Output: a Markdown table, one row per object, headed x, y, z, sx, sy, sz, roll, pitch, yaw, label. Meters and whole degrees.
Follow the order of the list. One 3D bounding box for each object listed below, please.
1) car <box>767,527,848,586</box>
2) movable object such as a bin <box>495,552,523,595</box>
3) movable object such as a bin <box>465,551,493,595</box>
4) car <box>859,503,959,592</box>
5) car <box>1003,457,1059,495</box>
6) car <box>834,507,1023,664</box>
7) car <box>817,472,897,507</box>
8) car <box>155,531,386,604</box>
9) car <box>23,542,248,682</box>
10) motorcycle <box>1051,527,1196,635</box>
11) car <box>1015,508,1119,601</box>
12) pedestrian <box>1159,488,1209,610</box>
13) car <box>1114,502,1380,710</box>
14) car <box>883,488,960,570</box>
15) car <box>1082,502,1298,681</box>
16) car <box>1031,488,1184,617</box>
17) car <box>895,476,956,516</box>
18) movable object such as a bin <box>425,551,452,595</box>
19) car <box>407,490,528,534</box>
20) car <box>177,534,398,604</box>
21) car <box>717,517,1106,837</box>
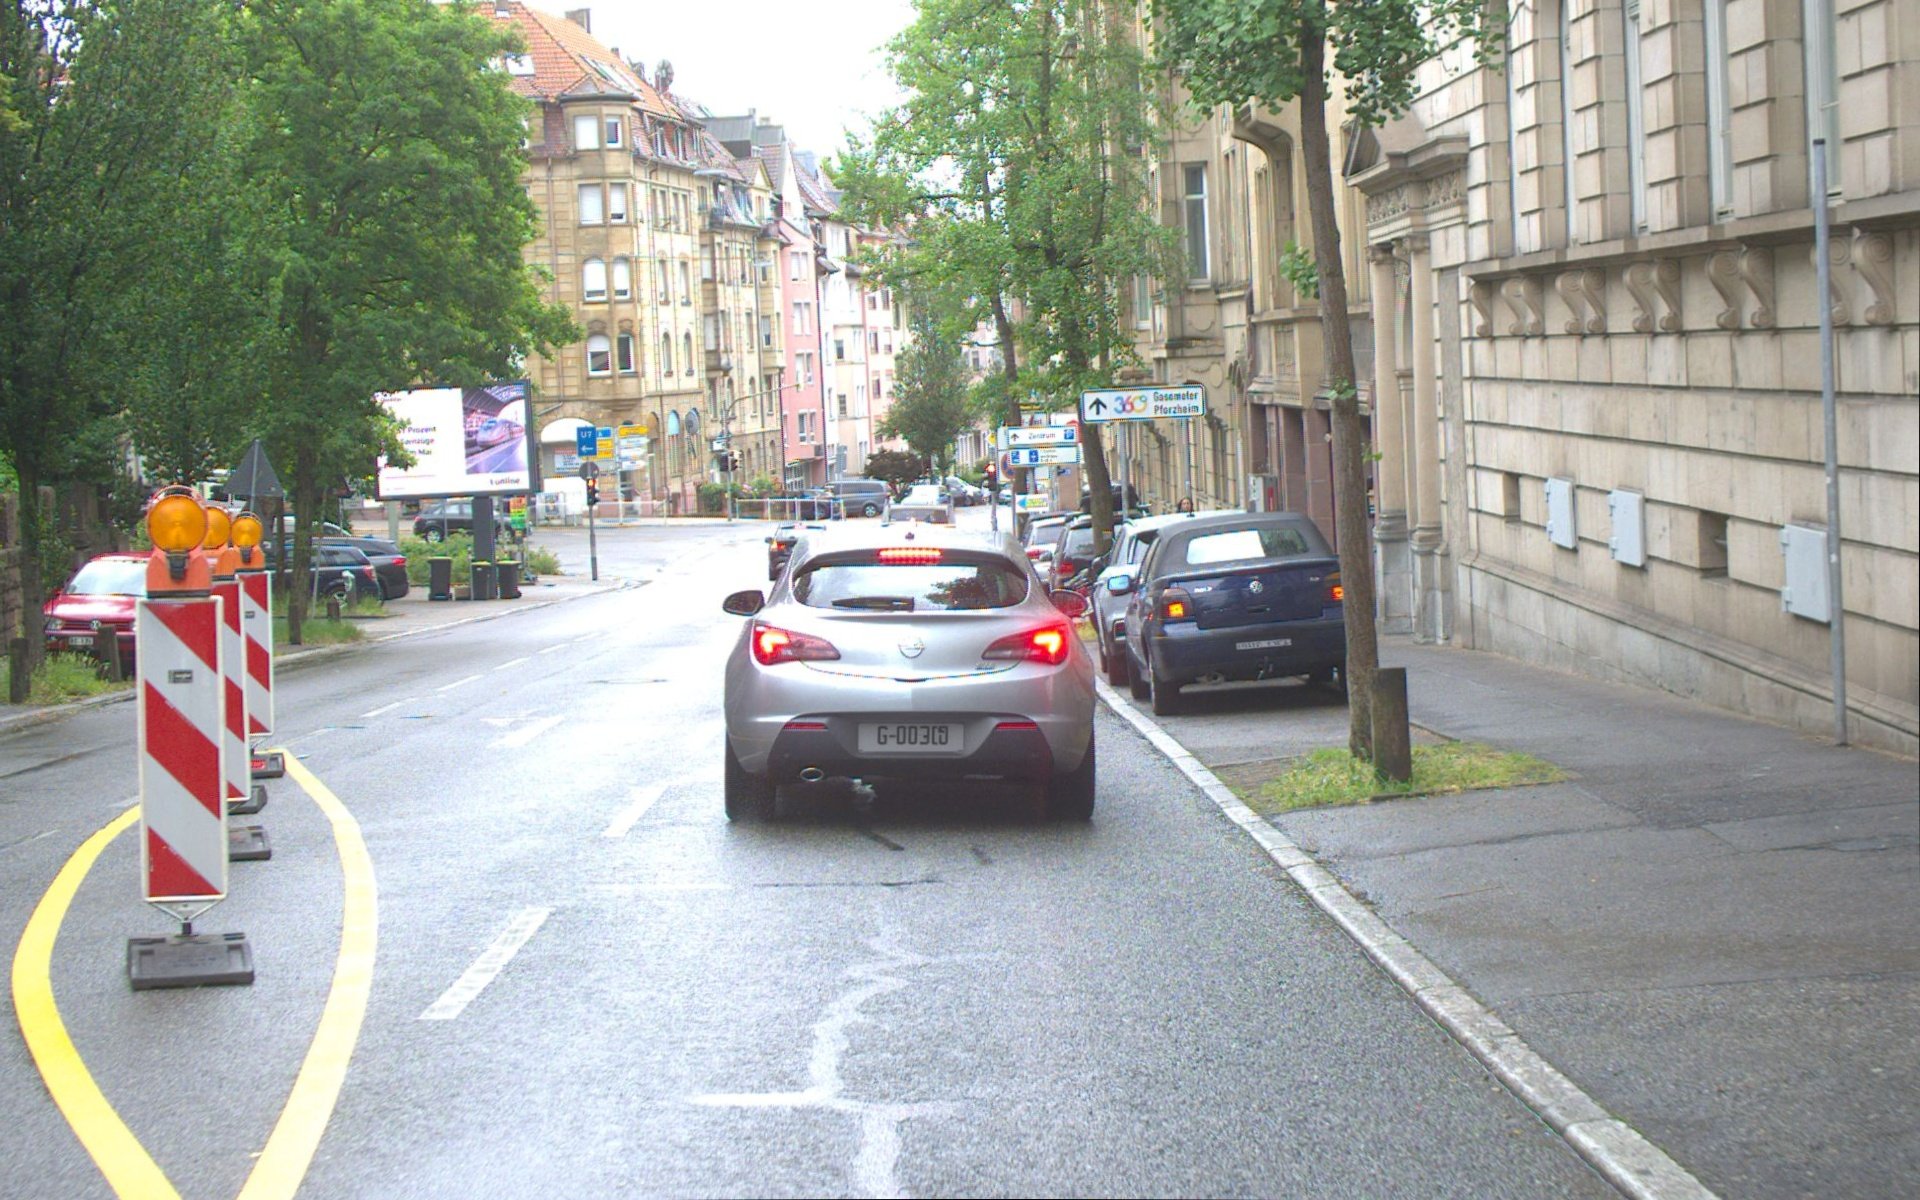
| x | y | z | sx | sy | sz | roll | pitch | yaw | label |
| --- | --- | --- | --- | --- | --- | --- | --- | --- | --- |
| -4.106 | -1.197 | 92.947 | 1.993 | 1.495 | 4.000 | -2 | 1 | 0 | car |
| -11.080 | -0.647 | 84.396 | 0.658 | 1.055 | 0.627 | 0 | 1 | -9 | movable object such as a bin |
| -11.654 | -0.663 | 83.295 | 0.625 | 1.055 | 0.721 | 0 | 1 | -6 | movable object such as a bin |
| -1.000 | -1.010 | 65.712 | 1.656 | 1.537 | 3.666 | -4 | 1 | -3 | car |
| 3.247 | -5.652 | 156.825 | 1.994 | 1.678 | 3.999 | 1 | 1 | 10 | car |
| -0.384 | -0.199 | 35.932 | 1.772 | 1.499 | 3.870 | -1 | 2 | -3 | car |
| -5.239 | -5.614 | 175.061 | 3.987 | 1.744 | 2.000 | 1 | 1 | -1 | car |
| -13.859 | -0.666 | 69.120 | 4.308 | 1.239 | 1.643 | -3 | 2 | -19 | car |
| -9.648 | 0.098 | 40.503 | 1.637 | 1.434 | 4.080 | -3 | 2 | 0 | car |
| 1.921 | -0.231 | 40.073 | 0.657 | 1.231 | 1.977 | 0 | 1 | 39 | motorcycle |
| 1.879 | -0.834 | 61.212 | 1.637 | 1.519 | 3.858 | -3 | 2 | 0 | car |
| 3.435 | -0.778 | 52.690 | 0.716 | 1.863 | 0.636 | 0 | 1 | -1 | pedestrian |
| 2.150 | -0.002 | 26.509 | 1.637 | 1.424 | 3.377 | -3 | 2 | -1 | car |
| -0.869 | -1.612 | 77.683 | 1.656 | 1.776 | 3.666 | -1 | 2 | 0 | car |
| 2.058 | -0.130 | 31.621 | 1.637 | 1.464 | 3.858 | -3 | 2 | 0 | car |
| 1.952 | -0.676 | 46.449 | 1.637 | 1.597 | 3.858 | -3 | 2 | -3 | car |
| -1.496 | -4.525 | 150.311 | 1.994 | 1.678 | 3.999 | 1 | 1 | 10 | car |
| -12.644 | -0.660 | 83.375 | 0.625 | 1.055 | 0.634 | 0 | 1 | -6 | movable object such as a bin |
| -18.294 | -3.277 | 127.745 | 4.227 | 1.579 | 1.940 | 0 | 2 | -1 | car |
| -14.099 | -0.655 | 72.102 | 4.308 | 1.239 | 1.643 | -3 | 2 | -19 | car |
| -0.283 | 0.317 | 18.130 | 1.811 | 1.444 | 3.870 | -1 | 2 | -2 | car |
